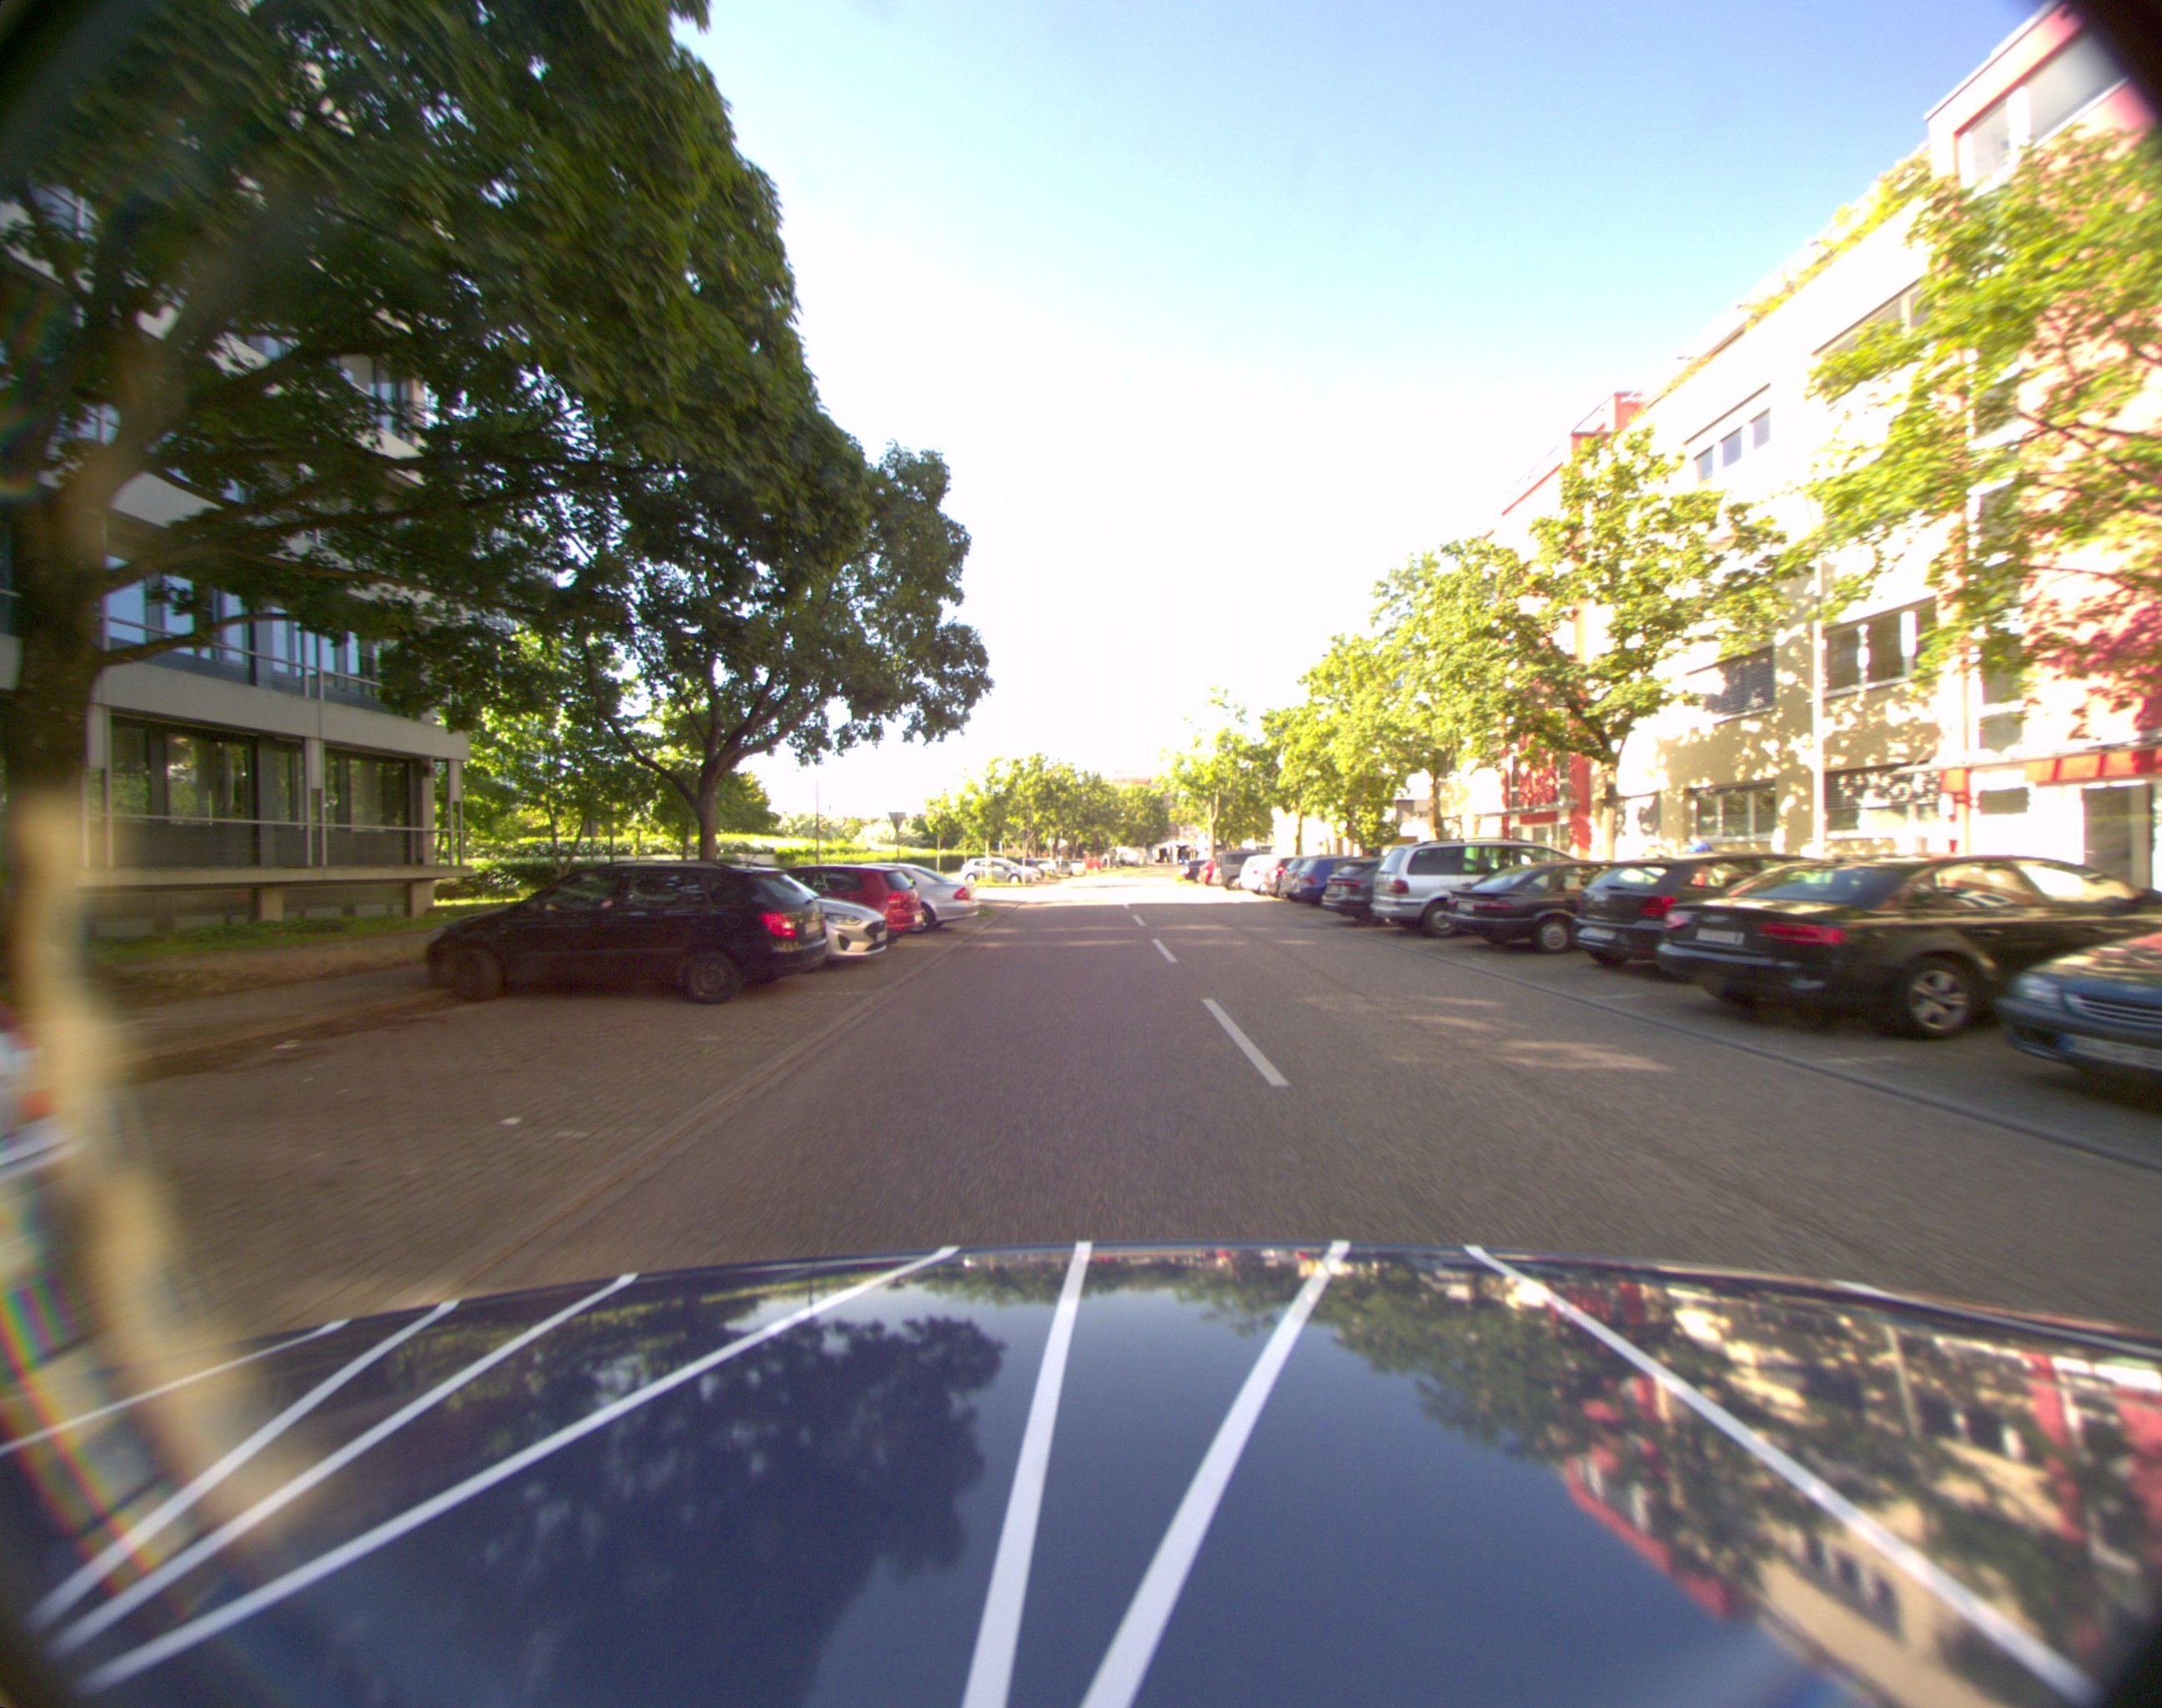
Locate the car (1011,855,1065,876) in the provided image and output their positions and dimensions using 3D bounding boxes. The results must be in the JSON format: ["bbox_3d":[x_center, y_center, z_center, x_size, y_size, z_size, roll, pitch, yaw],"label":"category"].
[{"bbox_3d":[-3.541,0.922,62.329,4.096,1.421,1.643,3,1,8],"label":"car"}]

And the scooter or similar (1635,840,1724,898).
[{"bbox_3d":[15.530,0.377,19.797,0.656,1.438,2.109,0,0,1],"label":"scooter or similar"}]

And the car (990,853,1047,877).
[{"bbox_3d":[-4.485,0.766,54.771,3.814,1.440,1.745,3,1,3],"label":"car"}]

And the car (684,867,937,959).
[{"bbox_3d":[-4.779,1.009,13.780,3.846,1.438,1.922,1,0,5],"label":"car"}]

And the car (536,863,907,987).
[{"bbox_3d":[-5.064,0.948,11.100,4.524,1.533,1.922,1,0,5],"label":"car"}]

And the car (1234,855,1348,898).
[{"bbox_3d":[7.975,0.820,29.089,3.736,1.438,1.876,-2,0,-3],"label":"car"}]

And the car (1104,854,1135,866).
[{"bbox_3d":[5.645,0.840,111.470,4.155,1.537,1.861,2,1,11],"label":"car"}]

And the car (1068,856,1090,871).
[{"bbox_3d":[-0.223,0.942,77.516,1.646,1.485,3.768,2,0,8],"label":"car"}]

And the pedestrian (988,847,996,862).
[{"bbox_3d":[-9.610,0.080,82.151,0.725,1.578,0.853,0,0,3],"label":"pedestrian"}]

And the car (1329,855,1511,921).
[{"bbox_3d":[8.379,0.818,19.024,3.735,1.419,1.772,-2,0,0],"label":"car"}]

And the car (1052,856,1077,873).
[{"bbox_3d":[-1.477,0.967,70.434,1.813,1.485,4.625,2,0,4],"label":"car"}]

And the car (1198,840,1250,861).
[{"bbox_3d":[14.311,-0.376,76.260,4.776,1.973,1.997,-1,-1,-22],"label":"car"}]

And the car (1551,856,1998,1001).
[{"bbox_3d":[8.041,0.807,9.084,3.735,1.419,1.725,-2,0,0],"label":"car"}]

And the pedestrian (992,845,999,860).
[{"bbox_3d":[-8.417,-0.144,74.647,0.608,1.533,0.937,0,0,1],"label":"pedestrian"}]

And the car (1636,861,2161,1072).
[{"bbox_3d":[7.280,0.850,6.515,3.735,1.419,1.725,-2,0,1],"label":"car"}]

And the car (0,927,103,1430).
[{"bbox_3d":[-5.074,0.957,1.590,3.754,1.484,1.616,1,0,-4],"label":"car"}]

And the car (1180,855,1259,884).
[{"bbox_3d":[7.906,0.876,43.612,4.272,1.415,1.740,-2,0,4],"label":"car"}]

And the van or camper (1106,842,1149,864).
[{"bbox_3d":[7.008,-0.163,114.038,5.990,2.967,2.673,2,1,12],"label":"van or camper"}]

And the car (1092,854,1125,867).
[{"bbox_3d":[3.809,0.919,103.957,4.199,1.537,1.861,2,1,14],"label":"car"}]

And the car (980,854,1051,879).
[{"bbox_3d":[-4.439,0.830,52.042,4.560,1.506,2.158,2,1,1],"label":"car"}]

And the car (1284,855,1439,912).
[{"bbox_3d":[7.986,0.815,21.889,3.735,1.419,1.841,-2,0,0],"label":"car"}]

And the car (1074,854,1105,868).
[{"bbox_3d":[0.998,0.839,91.881,3.438,1.535,1.629,3,1,14],"label":"car"}]

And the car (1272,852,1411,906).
[{"bbox_3d":[8.201,0.768,24.137,3.735,1.499,1.860,-2,0,0],"label":"car"}]

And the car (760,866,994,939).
[{"bbox_3d":[-4.284,1.012,16.468,4.589,1.467,1.747,0,0,1],"label":"car"}]

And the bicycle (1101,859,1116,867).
[{"bbox_3d":[3.400,1.105,94.300,1.752,0.985,0.531,1,1,25],"label":"bicycle"}]

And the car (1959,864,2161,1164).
[{"bbox_3d":[7.744,0.791,4.015,4.142,1.519,1.725,-2,0,1],"label":"car"}]

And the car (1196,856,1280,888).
[{"bbox_3d":[8.003,0.915,38.924,3.901,1.415,1.739,-2,0,1],"label":"car"}]

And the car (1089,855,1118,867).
[{"bbox_3d":[3.067,0.937,101.260,3.466,1.470,1.861,2,1,14],"label":"car"}]

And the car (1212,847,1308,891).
[{"bbox_3d":[8.018,0.661,34.285,3.901,1.800,1.786,-2,0,1],"label":"car"}]

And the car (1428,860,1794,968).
[{"bbox_3d":[7.889,0.850,11.613,4.332,1.350,1.757,-2,0,0],"label":"car"}]

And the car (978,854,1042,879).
[{"bbox_3d":[-4.602,0.806,49.492,3.885,1.506,1.751,2,1,1],"label":"car"}]

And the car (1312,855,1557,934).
[{"bbox_3d":[7.460,0.828,16.332,4.414,1.419,1.772,-2,0,-1],"label":"car"}]

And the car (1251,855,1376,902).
[{"bbox_3d":[8.116,0.831,26.730,3.736,1.438,1.859,-2,0,-3],"label":"car"}]

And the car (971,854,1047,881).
[{"bbox_3d":[-4.433,0.828,46.924,4.563,1.506,1.981,2,1,-5],"label":"car"}]

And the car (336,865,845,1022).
[{"bbox_3d":[-5.271,0.946,8.720,4.528,1.533,1.921,1,0,-3],"label":"car"}]

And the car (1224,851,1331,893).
[{"bbox_3d":[8.157,0.740,31.777,3.902,1.565,1.859,-2,0,-1],"label":"car"}]

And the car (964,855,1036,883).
[{"bbox_3d":[-4.699,0.857,44.318,3.957,1.506,1.702,2,1,2],"label":"car"}]

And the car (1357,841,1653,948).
[{"bbox_3d":[7.628,0.712,14.091,4.330,1.707,1.963,-2,0,6],"label":"car"}]
